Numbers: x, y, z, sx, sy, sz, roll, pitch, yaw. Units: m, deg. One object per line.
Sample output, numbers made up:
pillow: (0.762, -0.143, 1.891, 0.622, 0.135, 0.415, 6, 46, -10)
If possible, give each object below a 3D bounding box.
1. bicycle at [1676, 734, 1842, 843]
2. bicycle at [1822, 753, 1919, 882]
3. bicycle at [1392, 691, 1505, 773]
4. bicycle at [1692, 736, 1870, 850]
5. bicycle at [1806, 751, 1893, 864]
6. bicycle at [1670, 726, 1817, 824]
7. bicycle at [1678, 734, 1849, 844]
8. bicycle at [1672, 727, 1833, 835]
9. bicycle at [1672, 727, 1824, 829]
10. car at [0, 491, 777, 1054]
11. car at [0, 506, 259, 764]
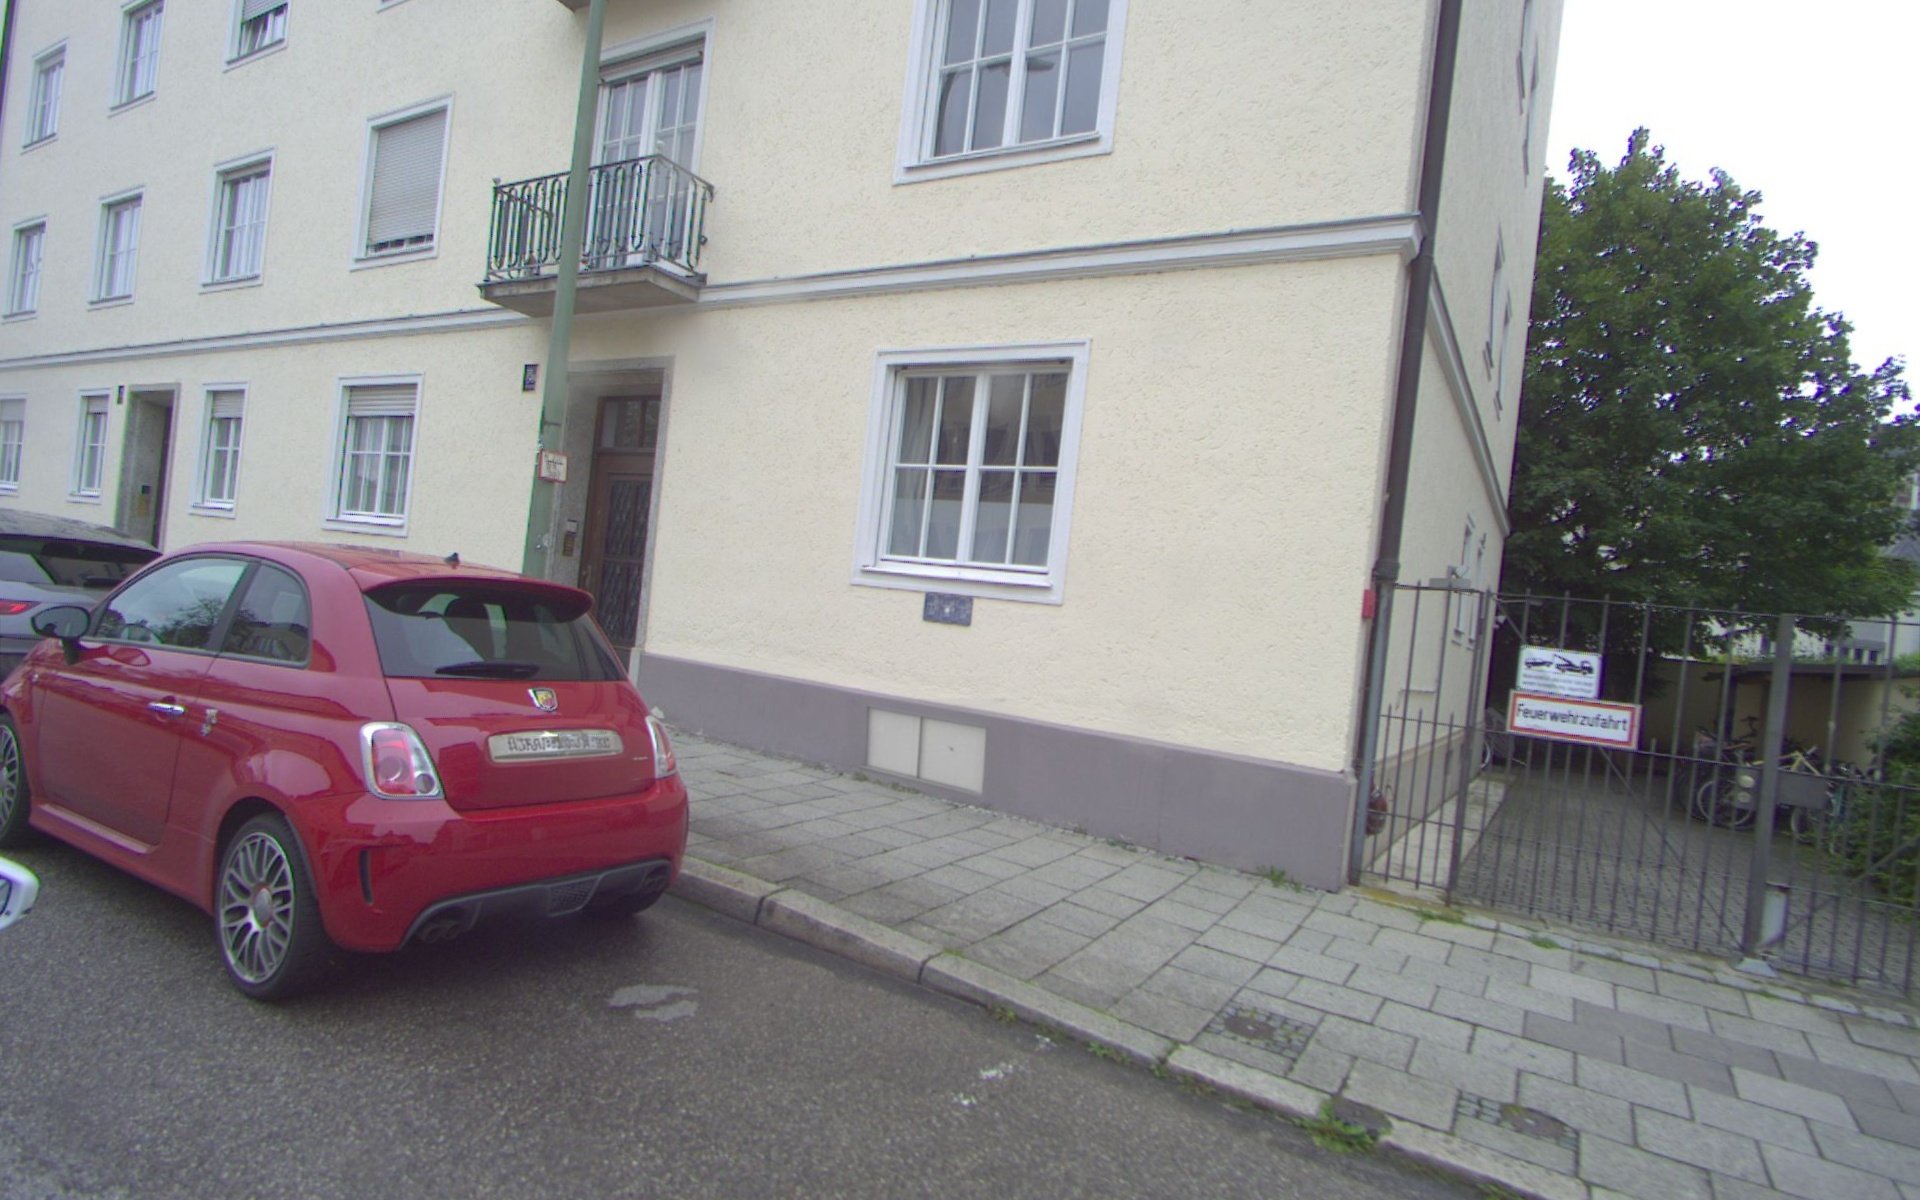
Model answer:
bicycle: (10.649, 2.496, 13.477, 1.614, 1.129, 0.372, 6, -1, 33)
bicycle: (9.106, 2.137, 10.077, 0.425, 1.096, 1.363, 7, -2, 32)
bicycle: (8.474, 2.272, 17.488, 1.614, 1.161, 0.422, 6, -1, 33)
bicycle: (10.261, 2.391, 12.643, 1.614, 1.096, 0.372, 6, -1, 34)
bicycle: (10.085, 2.319, 11.441, 0.425, 1.096, 1.363, 7, -2, 32)
bicycle: (11.824, 2.617, 15.235, 1.614, 1.174, 0.422, 6, -1, 33)
bicycle: (10.384, 2.420, 13.068, 1.614, 1.096, 0.372, 6, -1, 34)
bicycle: (10.908, 2.471, 13.915, 1.614, 1.174, 0.422, 6, -1, 33)
bicycle: (11.444, 2.570, 14.673, 1.614, 1.174, 0.422, 6, -1, 33)
car: (-2.895, 0.447, 4.579, 3.760, 1.515, 1.682, 6, -1, 31)
car: (-6.965, 0.035, 7.010, 4.347, 1.427, 1.682, 6, -1, 31)
